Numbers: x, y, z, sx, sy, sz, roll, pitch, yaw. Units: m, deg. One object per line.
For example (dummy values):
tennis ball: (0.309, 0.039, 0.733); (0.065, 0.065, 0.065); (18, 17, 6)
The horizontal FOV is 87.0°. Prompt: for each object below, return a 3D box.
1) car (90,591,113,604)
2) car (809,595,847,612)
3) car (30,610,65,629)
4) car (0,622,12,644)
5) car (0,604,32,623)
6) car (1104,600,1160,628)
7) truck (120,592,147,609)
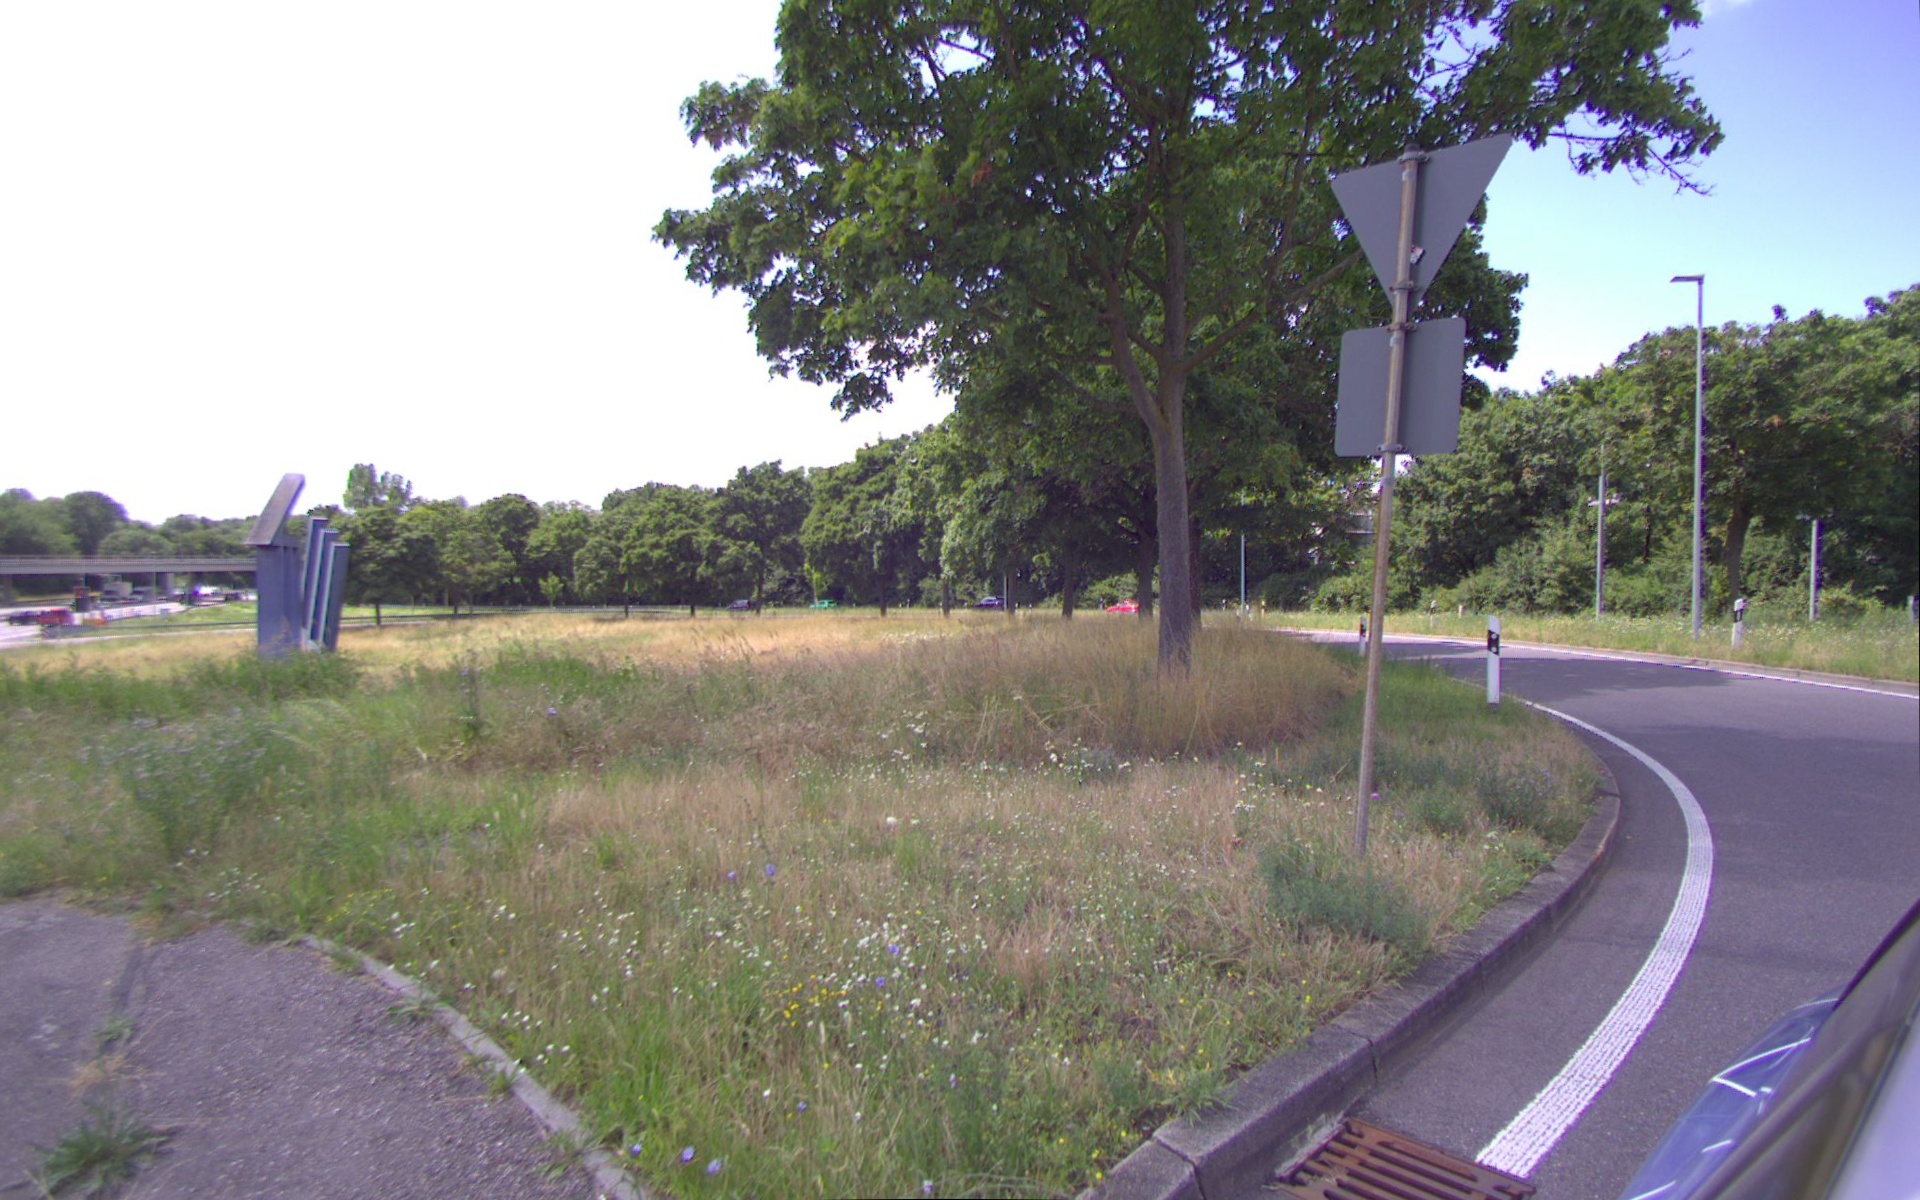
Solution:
car: (-140.444, -0.440, 165.534); (1.959, 2.039, 4.006); (0, 0, -26)
car: (-15.129, 0.353, 115.809); (3.971, 1.905, 1.976); (0, 0, 33)
car: (-104.848, 2.256, 116.376); (1.959, 2.039, 4.006); (0, 0, -26)
car: (-95.461, 3.262, 99.692); (1.959, 2.039, 4.006); (0, 0, -26)
car: (-108.686, 1.507, 116.332); (1.959, 2.039, 4.006); (0, 0, -26)
car: (13.099, 1.010, 77.112); (1.963, 2.039, 3.998); (0, 0, -37)
truck: (-137.887, 0.099, 168.903); (1.959, 2.736, 6.628); (0, 0, -26)
